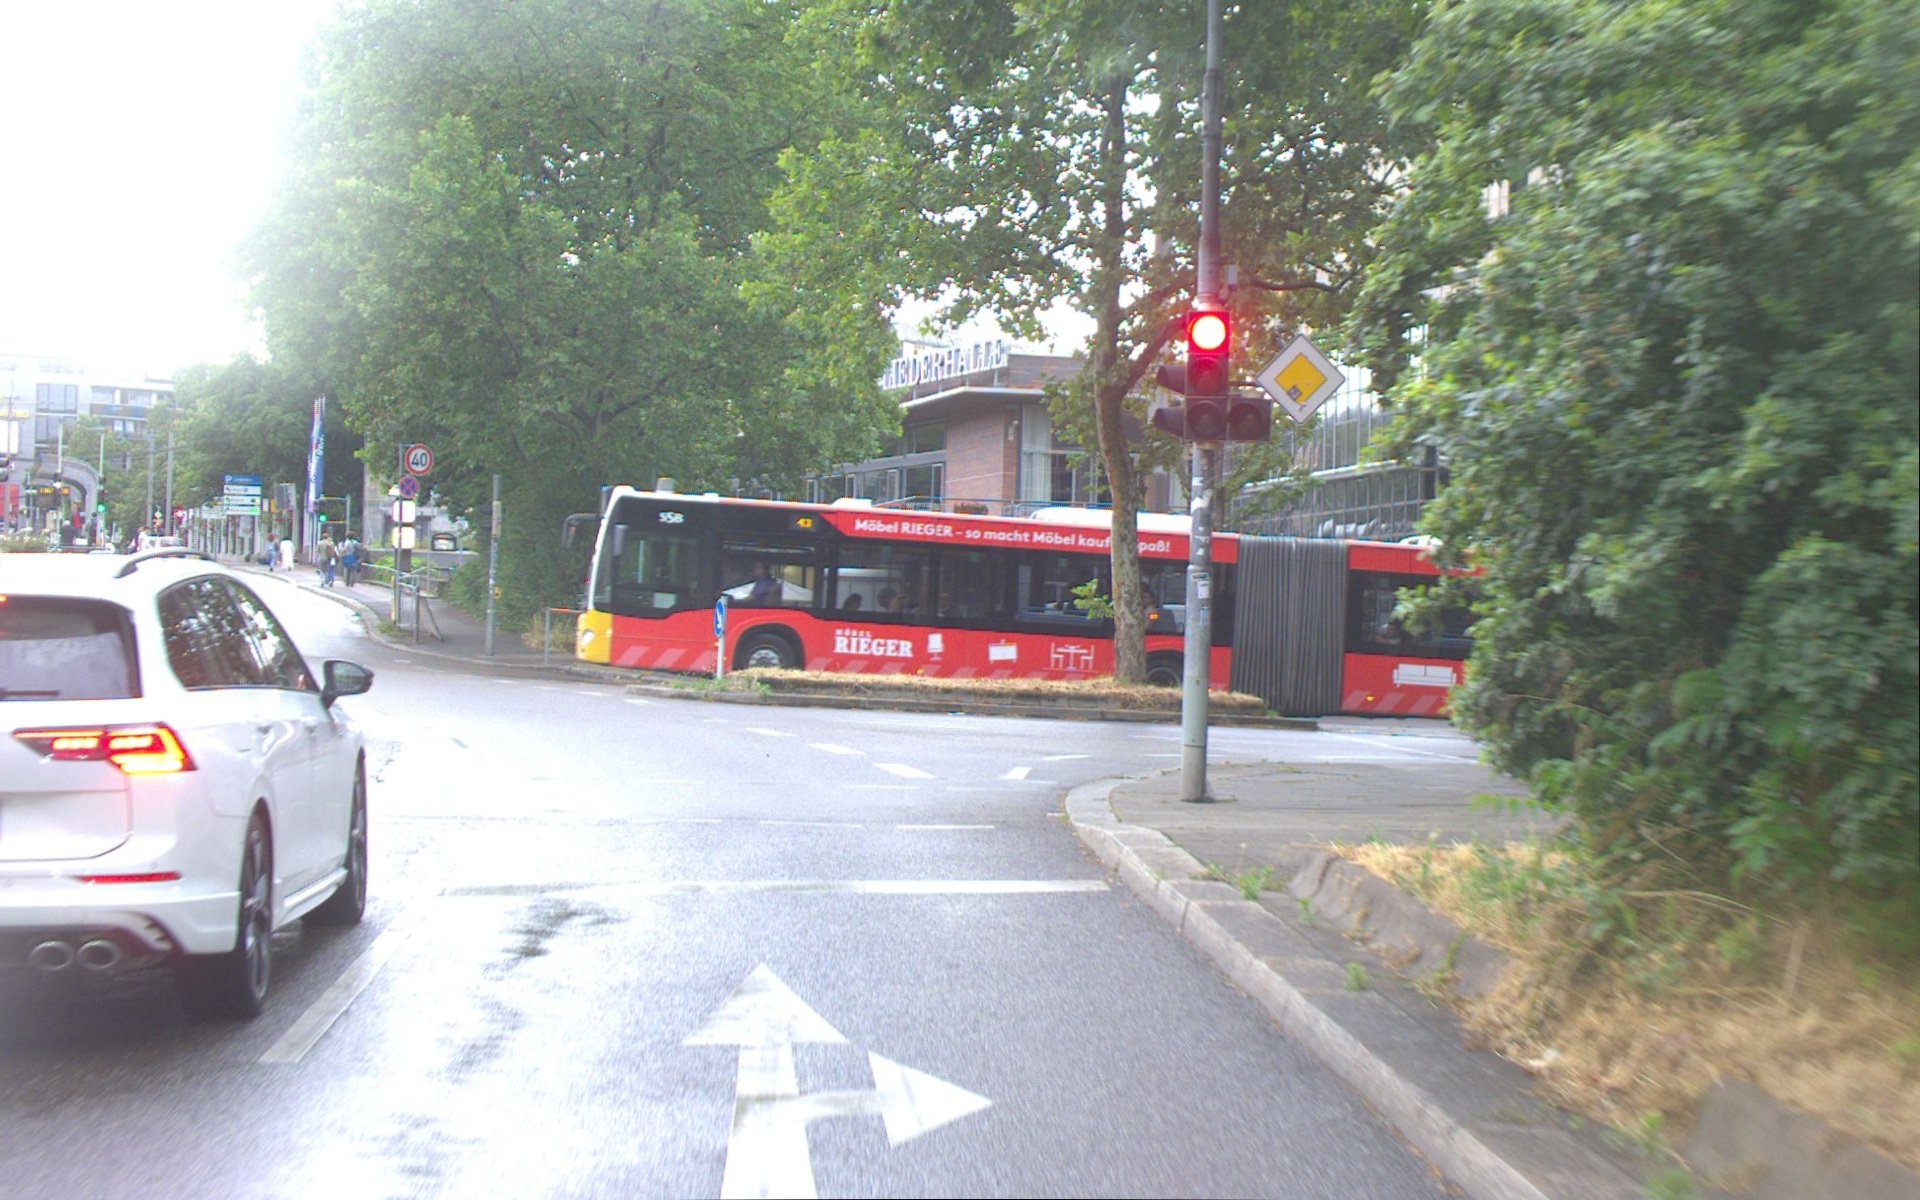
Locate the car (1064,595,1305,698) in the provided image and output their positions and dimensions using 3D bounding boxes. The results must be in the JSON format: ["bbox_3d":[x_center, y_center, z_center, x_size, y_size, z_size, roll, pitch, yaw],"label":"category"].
[{"bbox_3d":[4.888,1.010,74.738,4.745,1.937,2.000,4,-1,-24],"label":"car"}]

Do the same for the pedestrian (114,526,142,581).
[{"bbox_3d":[-50.999,-2.847,210.726,1.353,3.241,0.983,4,-1,-8],"label":"pedestrian"}]

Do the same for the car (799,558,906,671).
[{"bbox_3d":[-3.245,0.420,102.494,2.544,3.123,5.032,4,-1,-7],"label":"car"}]

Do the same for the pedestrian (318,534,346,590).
[{"bbox_3d":[-20.915,-1.262,114.541,0.756,1.817,0.701,4,-1,-15],"label":"pedestrian"}]

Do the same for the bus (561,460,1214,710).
[{"bbox_3d":[-1.142,-0.200,51.847,9.422,3.100,2.559,4,-1,-9],"label":"bus"}]

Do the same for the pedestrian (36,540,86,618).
[{"bbox_3d":[-19.264,-0.443,73.666,0.738,1.634,0.871,3,-1,0],"label":"pedestrian"}]

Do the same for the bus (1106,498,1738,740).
[{"bbox_3d":[7.099,0.311,53.148,9.152,3.100,2.664,4,-1,-11],"label":"bus"}]

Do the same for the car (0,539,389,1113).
[{"bbox_3d":[-3.066,0.594,11.694,1.679,1.571,4.253,1,1,-2],"label":"car"}]

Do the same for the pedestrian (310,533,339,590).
[{"bbox_3d":[-20.909,-1.273,113.093,0.756,1.817,0.701,4,-1,-15],"label":"pedestrian"}]
